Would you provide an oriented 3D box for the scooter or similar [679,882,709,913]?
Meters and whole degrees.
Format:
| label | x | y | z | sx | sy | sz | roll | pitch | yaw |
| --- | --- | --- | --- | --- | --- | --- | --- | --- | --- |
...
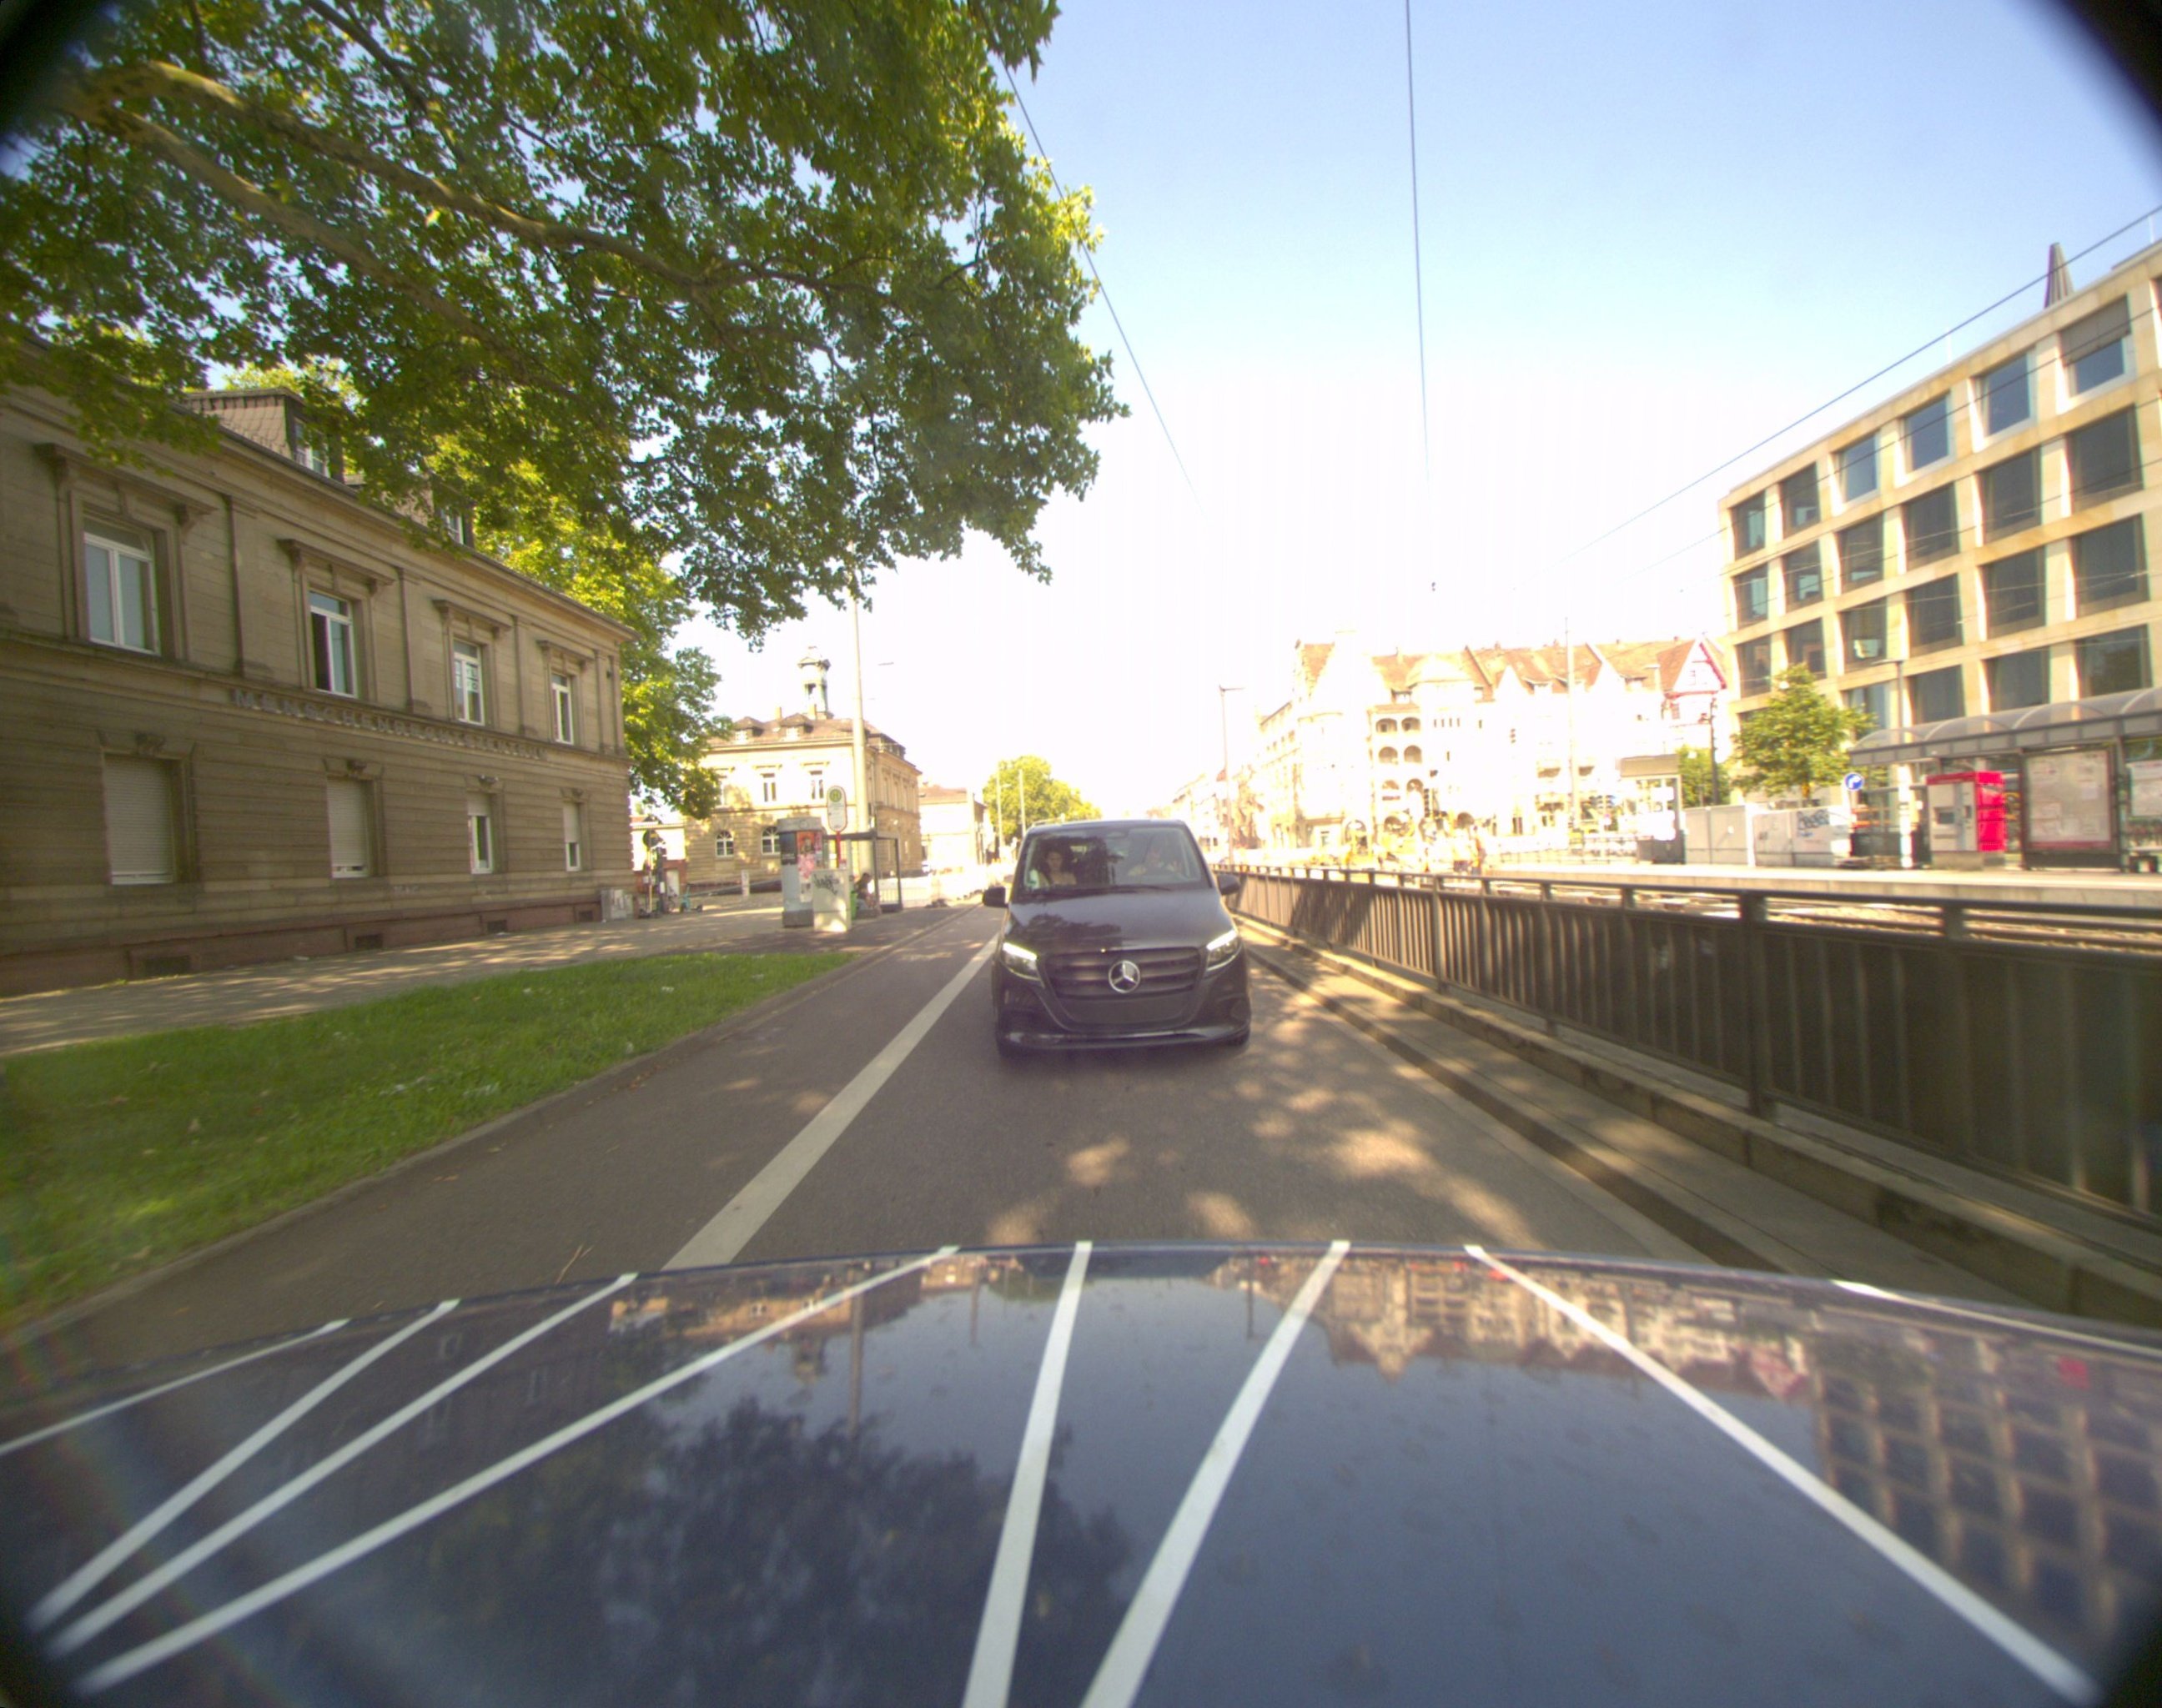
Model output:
| label | x | y | z | sx | sy | sz | roll | pitch | yaw |
| --- | --- | --- | --- | --- | --- | --- | --- | --- | --- |
| scooter or similar | -15.860 | 1.772 | 31.170 | 0.426 | 1.221 | 1.174 | -3 | 0 | 7 |

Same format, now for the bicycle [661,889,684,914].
| label | x | y | z | sx | sy | sz | roll | pitch | yaw |
| --- | --- | --- | --- | --- | --- | --- | --- | --- | --- |
| bicycle | -17.200 | 2.000 | 32.023 | 0.493 | 0.993 | 1.816 | -3 | -2 | -18 |

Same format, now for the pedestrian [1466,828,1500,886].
| label | x | y | z | sx | sy | sz | roll | pitch | yaw |
| --- | --- | --- | --- | --- | --- | --- | --- | --- | --- |
| pedestrian | 12.779 | 0.087 | 24.148 | 0.627 | 1.805 | 0.639 | -3 | 0 | -32 |

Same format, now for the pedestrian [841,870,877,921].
| label | x | y | z | sx | sy | sz | roll | pitch | yaw |
| --- | --- | --- | --- | --- | --- | --- | --- | --- | --- |
| pedestrian | -6.391 | 1.183 | 21.881 | 0.752 | 1.358 | 0.611 | -4 | 2 | 0 |

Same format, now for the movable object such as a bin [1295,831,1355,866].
| label | x | y | z | sx | sy | sz | roll | pitch | yaw |
| --- | --- | --- | --- | --- | --- | --- | --- | --- | --- |
| movable object such as a bin | 21.053 | -0.493 | 65.478 | 4.824 | 2.818 | 2.443 | -3 | 1 | -37 |

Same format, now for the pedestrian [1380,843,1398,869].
| label | x | y | z | sx | sy | sz | roll | pitch | yaw |
| --- | --- | --- | --- | --- | --- | --- | --- | --- | --- |
| pedestrian | 20.683 | 0.132 | 51.042 | 0.669 | 1.739 | 0.832 | -3 | 0 | -30 |

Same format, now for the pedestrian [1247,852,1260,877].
| label | x | y | z | sx | sy | sz | roll | pitch | yaw |
| --- | --- | --- | --- | --- | --- | --- | --- | --- | --- |
| pedestrian | 11.303 | 0.673 | 49.699 | 0.701 | 1.557 | 0.557 | -3 | 0 | 6 |

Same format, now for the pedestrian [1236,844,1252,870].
| label | x | y | z | sx | sy | sz | roll | pitch | yaw |
| --- | --- | --- | --- | --- | --- | --- | --- | --- | --- |
| pedestrian | 9.817 | 0.178 | 45.669 | 0.817 | 1.557 | 0.557 | -3 | 0 | 19 |

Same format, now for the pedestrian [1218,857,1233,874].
| label | x | y | z | sx | sy | sz | roll | pitch | yaw |
| --- | --- | --- | --- | --- | --- | --- | --- | --- | --- |
| pedestrian | 8.340 | 0.647 | 43.811 | 0.821 | 0.920 | 0.513 | -3 | 0 | 14 |

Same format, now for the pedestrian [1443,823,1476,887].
| label | x | y | z | sx | sy | sz | roll | pitch | yaw |
| --- | --- | --- | --- | --- | --- | --- | --- | --- | --- |
| pedestrian | 11.870 | 0.037 | 23.836 | 0.724 | 1.939 | 0.789 | -3 | 0 | 15 |

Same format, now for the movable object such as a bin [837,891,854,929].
| label | x | y | z | sx | sy | sz | roll | pitch | yaw |
| --- | --- | --- | --- | --- | --- | --- | --- | --- | --- |
| movable object such as a bin | -5.911 | 1.409 | 19.069 | 0.272 | 0.910 | 0.386 | -3 | 0 | -2 |

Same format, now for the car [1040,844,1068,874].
| label | x | y | z | sx | sy | sz | roll | pitch | yaw |
| --- | --- | --- | --- | --- | --- | --- | --- | --- | --- |
| car | -2.472 | 0.413 | 67.150 | 2.213 | 2.410 | 7.197 | -3 | 1 | -3 |

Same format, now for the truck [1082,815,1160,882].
| label | x | y | z | sx | sy | sz | roll | pitch | yaw |
| --- | --- | --- | --- | --- | --- | --- | --- | --- | --- |
| truck | 2.471 | -0.247 | 50.610 | 2.802 | 3.889 | 8.411 | -5 | 0 | -12 |

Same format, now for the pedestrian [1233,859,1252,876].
| label | x | y | z | sx | sy | sz | roll | pitch | yaw |
| --- | --- | --- | --- | --- | --- | --- | --- | --- | --- |
| pedestrian | 9.403 | 0.798 | 44.379 | 0.513 | 0.982 | 0.932 | -3 | 0 | -38 |

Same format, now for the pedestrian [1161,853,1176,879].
| label | x | y | z | sx | sy | sz | roll | pitch | yaw |
| --- | --- | --- | --- | --- | --- | --- | --- | --- | --- |
| pedestrian | 5.459 | 0.742 | 47.357 | 0.762 | 1.557 | 0.691 | -3 | 0 | 0 |

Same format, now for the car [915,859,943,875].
| label | x | y | z | sx | sy | sz | roll | pitch | yaw |
| --- | --- | --- | --- | --- | --- | --- | --- | --- | --- |
| car | -18.406 | 1.556 | 92.384 | 1.907 | 1.771 | 4.230 | -3 | -3 | 10 |

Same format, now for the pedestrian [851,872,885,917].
| label | x | y | z | sx | sy | sz | roll | pitch | yaw |
| --- | --- | --- | --- | --- | --- | --- | --- | --- | --- |
| pedestrian | -6.320 | 1.189 | 22.550 | 0.743 | 1.254 | 0.611 | -4 | 2 | 0 |

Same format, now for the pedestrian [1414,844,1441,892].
| label | x | y | z | sx | sy | sz | roll | pitch | yaw |
| --- | --- | --- | --- | --- | --- | --- | --- | --- | --- |
| pedestrian | 12.233 | 0.500 | 26.825 | 0.667 | 1.653 | 0.773 | -3 | 0 | 34 |

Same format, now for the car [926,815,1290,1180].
| label | x | y | z | sx | sy | sz | roll | pitch | yaw |
| --- | --- | --- | --- | --- | --- | --- | --- | --- | --- |
| car | 0.175 | 0.759 | 6.248 | 1.853 | 1.875 | 4.178 | -4 | 1 | 1 |

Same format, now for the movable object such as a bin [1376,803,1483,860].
| label | x | y | z | sx | sy | sz | roll | pitch | yaw |
| --- | --- | --- | --- | --- | --- | --- | --- | --- | --- |
| movable object such as a bin | 29.591 | -1.880 | 64.955 | 7.369 | 4.323 | 4.973 | -3 | 2 | 14 |

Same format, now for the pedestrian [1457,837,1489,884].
| label | x | y | z | sx | sy | sz | roll | pitch | yaw |
| --- | --- | --- | --- | --- | --- | --- | --- | --- | --- |
| pedestrian | 13.158 | 0.216 | 25.525 | 0.642 | 1.545 | 0.625 | -3 | 0 | -26 |

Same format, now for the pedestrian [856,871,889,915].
| label | x | y | z | sx | sy | sz | roll | pitch | yaw |
| --- | --- | --- | --- | --- | --- | --- | --- | --- | --- |
| pedestrian | -6.382 | 1.180 | 23.310 | 0.743 | 1.254 | 0.611 | -4 | 2 | 0 |

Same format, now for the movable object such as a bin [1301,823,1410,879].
| label | x | y | z | sx | sy | sz | roll | pitch | yaw |
| --- | --- | --- | --- | --- | --- | --- | --- | --- | --- |
| movable object such as a bin | 16.752 | -0.253 | 47.252 | 3.622 | 2.941 | 8.475 | -4 | 1 | 1 |
